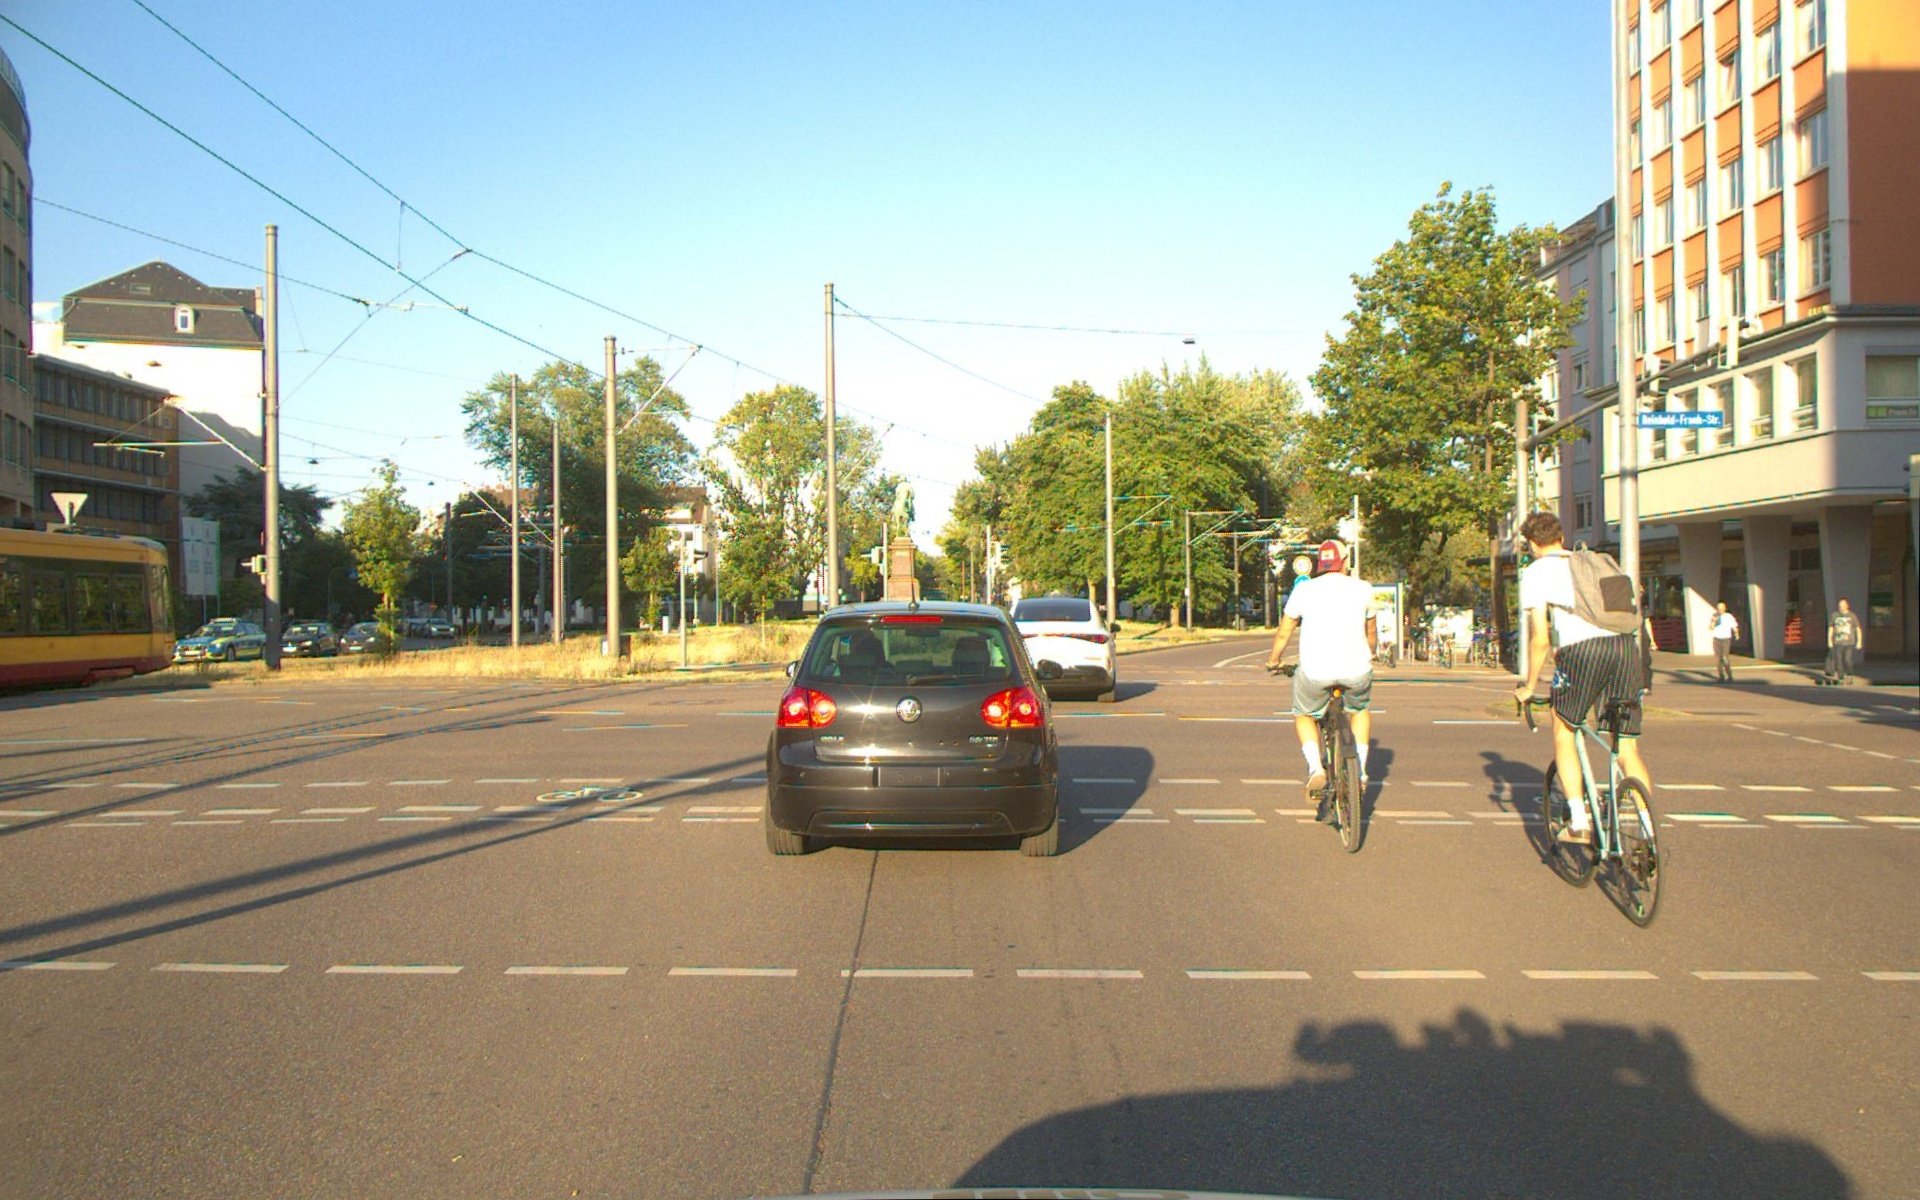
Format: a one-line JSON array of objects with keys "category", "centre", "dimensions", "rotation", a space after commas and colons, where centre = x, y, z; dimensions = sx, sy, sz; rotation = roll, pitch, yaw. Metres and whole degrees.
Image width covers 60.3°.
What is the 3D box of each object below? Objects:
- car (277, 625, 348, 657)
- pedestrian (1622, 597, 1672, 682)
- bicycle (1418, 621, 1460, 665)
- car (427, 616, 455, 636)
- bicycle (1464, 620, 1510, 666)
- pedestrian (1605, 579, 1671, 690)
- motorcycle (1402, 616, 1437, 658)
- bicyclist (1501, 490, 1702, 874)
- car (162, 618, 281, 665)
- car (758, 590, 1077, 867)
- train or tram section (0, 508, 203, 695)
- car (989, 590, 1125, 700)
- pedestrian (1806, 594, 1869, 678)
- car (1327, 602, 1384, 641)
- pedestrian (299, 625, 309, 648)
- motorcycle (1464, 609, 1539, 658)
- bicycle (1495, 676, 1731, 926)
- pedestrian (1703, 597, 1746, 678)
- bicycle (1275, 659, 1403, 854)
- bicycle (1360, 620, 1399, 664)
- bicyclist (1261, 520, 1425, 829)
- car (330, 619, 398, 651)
[{"category": "car", "centre": [-25.630, 1.619, 65.586], "dimensions": [1.489, 1.174, 3.597], "rotation": [0, 0, -2]}, {"category": "pedestrian", "centre": [13.280, 0.763, 32.000], "dimensions": [0.667, 1.617, 0.747], "rotation": [-1, 0, 4]}, {"category": "bicycle", "centre": [13.267, 1.173, 45.865], "dimensions": [0.631, 1.146, 1.874], "rotation": [-1, 1, 1]}, {"category": "car", "centre": [-42.124, 2.104, 134.224], "dimensions": [1.747, 1.508, 4.276], "rotation": [-1, 0, -24]}, {"category": "bicycle", "centre": [14.590, 1.186, 45.867], "dimensions": [0.631, 1.178, 2.124], "rotation": [-1, 1, 1]}, {"category": "pedestrian", "centre": [10.849, 0.544, 26.487], "dimensions": [0.648, 1.734, 1.072], "rotation": [-1, 0, 4]}, {"category": "motorcycle", "centre": [14.140, 1.132, 50.950], "dimensions": [0.652, 1.264, 2.202], "rotation": [0, 0, 6]}, {"category": "bicyclist", "centre": [3.242, 0.396, 8.444], "dimensions": [0.660, 1.839, 0.994], "rotation": [0, -1, 3]}, {"category": "car", "centre": [-25.603, 1.406, 57.544], "dimensions": [1.849, 1.506, 4.783], "rotation": [-1, 0, 2]}, {"category": "car", "centre": [-0.182, 0.699, 10.928], "dimensions": [1.711, 1.486, 4.104], "rotation": [0, 0, 1]}, {"category": "train or tram section", "centre": [-19.905, 0.056, 35.450], "dimensions": [2.717, 3.598, 10.568], "rotation": [0, 0, -1]}, {"category": "car", "centre": [1.489, 0.620, 24.458], "dimensions": [1.825, 1.466, 4.199], "rotation": [-1, 0, 5]}, {"category": "pedestrian", "centre": [18.378, 0.742, 34.665], "dimensions": [0.767, 1.731, 1.027], "rotation": [-1, 0, 1]}, {"category": "car", "centre": [16.682, 0.890, 69.594], "dimensions": [1.693, 1.498, 3.898], "rotation": [-3, -1, 22]}, {"category": "pedestrian", "centre": [-42.043, 2.343, 106.022], "dimensions": [0.405, 1.455, 0.485], "rotation": [-1, 0, -1]}, {"category": "motorcycle", "centre": [16.037, 0.983, 48.995], "dimensions": [2.000, 1.431, 0.761], "rotation": [0, 0, 7]}, {"category": "bicycle", "centre": [3.236, 0.948, 8.370], "dimensions": [0.563, 1.046, 1.857], "rotation": [0, 0, 4]}, {"category": "pedestrian", "centre": [16.674, 0.814, 36.098], "dimensions": [0.557, 1.731, 0.812], "rotation": [-1, 0, 1]}, {"category": "bicycle", "centre": [2.348, 0.928, 10.425], "dimensions": [0.468, 1.046, 1.982], "rotation": [0, 0, 4]}, {"category": "bicycle", "centre": [11.596, 1.153, 45.806], "dimensions": [0.631, 1.146, 1.874], "rotation": [-1, 1, 1]}, {"category": "bicyclist", "centre": [2.380, 0.445, 10.402], "dimensions": [0.809, 1.839, 1.058], "rotation": [0, -1, 3]}, {"category": "car", "centre": [-26.157, 1.520, 72.713], "dimensions": [1.612, 1.304, 3.739], "rotation": [-1, 0, 0]}]
